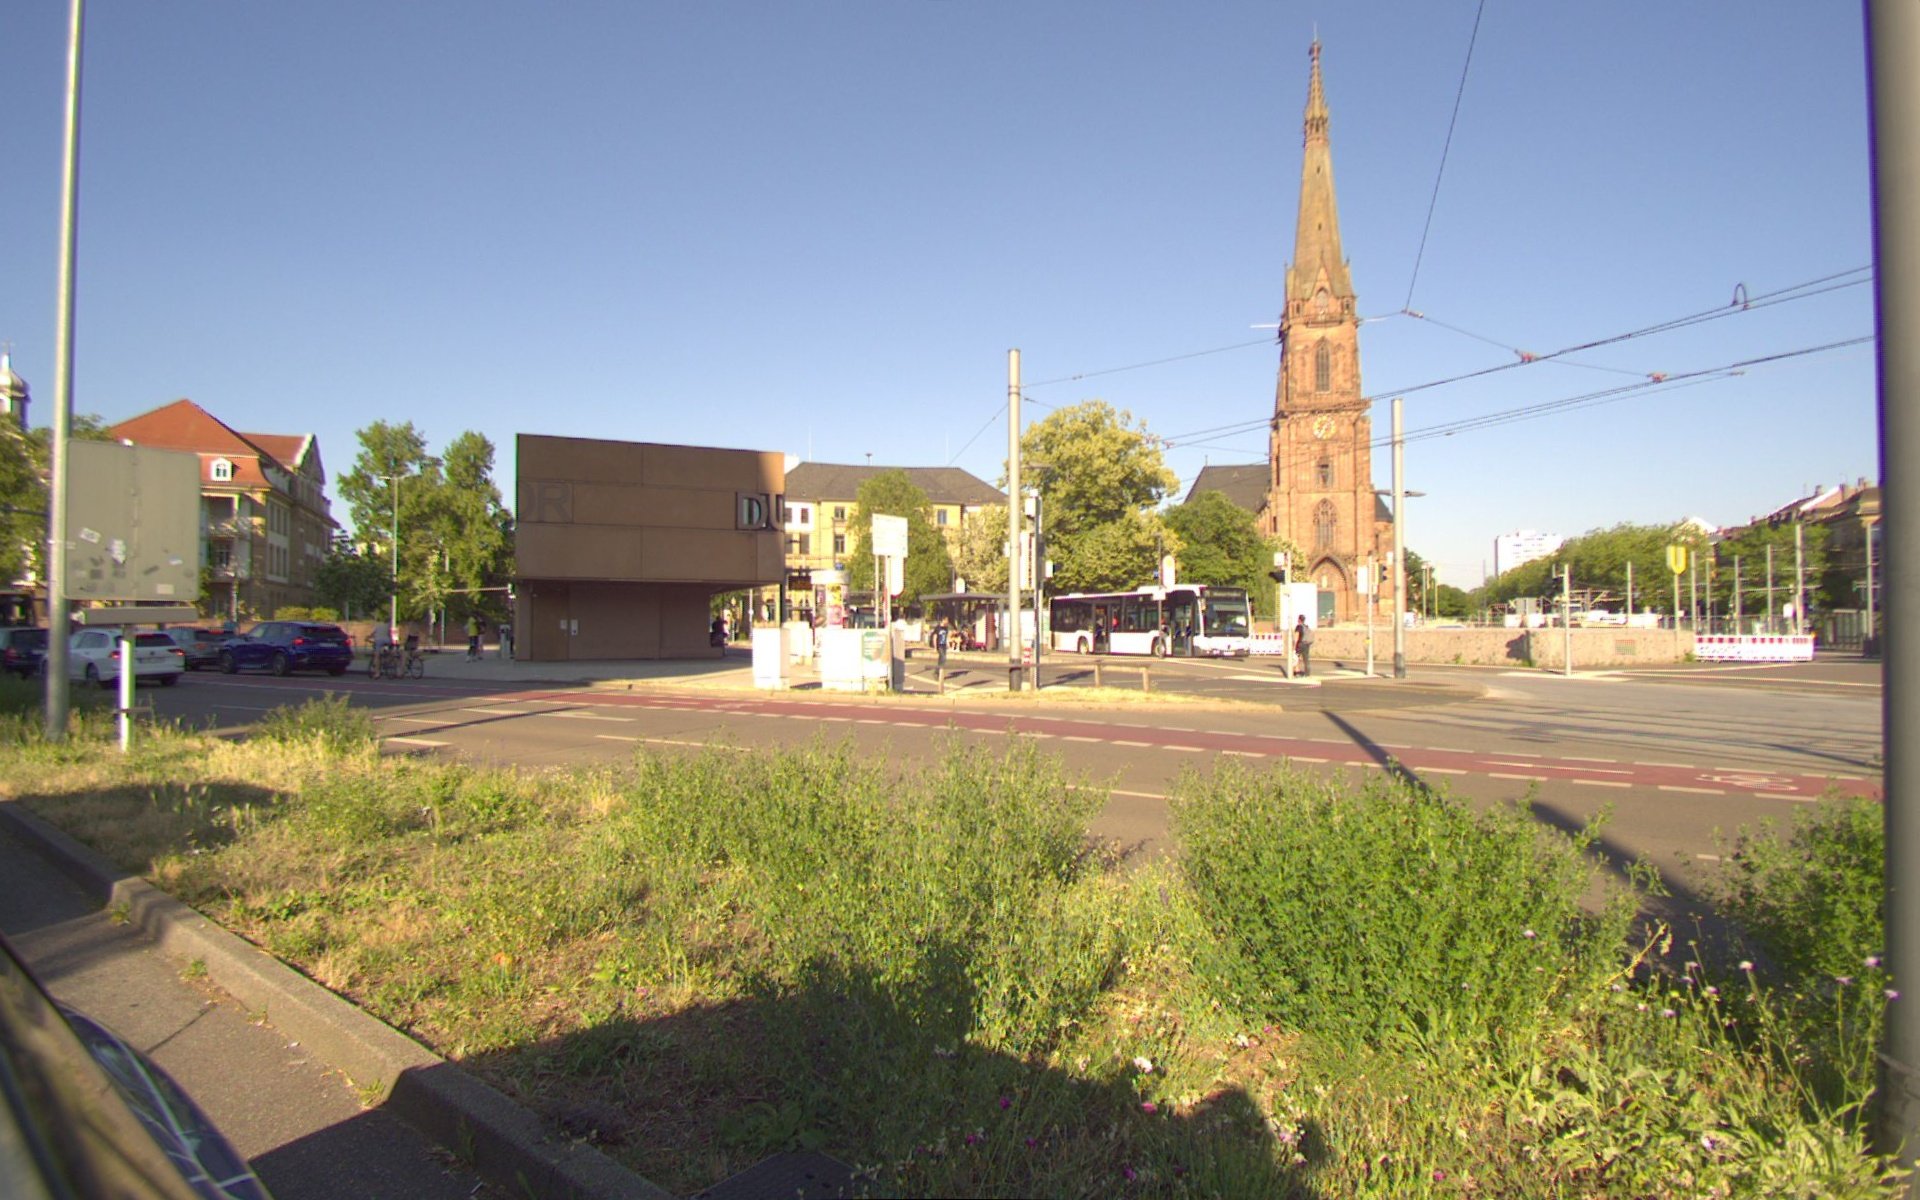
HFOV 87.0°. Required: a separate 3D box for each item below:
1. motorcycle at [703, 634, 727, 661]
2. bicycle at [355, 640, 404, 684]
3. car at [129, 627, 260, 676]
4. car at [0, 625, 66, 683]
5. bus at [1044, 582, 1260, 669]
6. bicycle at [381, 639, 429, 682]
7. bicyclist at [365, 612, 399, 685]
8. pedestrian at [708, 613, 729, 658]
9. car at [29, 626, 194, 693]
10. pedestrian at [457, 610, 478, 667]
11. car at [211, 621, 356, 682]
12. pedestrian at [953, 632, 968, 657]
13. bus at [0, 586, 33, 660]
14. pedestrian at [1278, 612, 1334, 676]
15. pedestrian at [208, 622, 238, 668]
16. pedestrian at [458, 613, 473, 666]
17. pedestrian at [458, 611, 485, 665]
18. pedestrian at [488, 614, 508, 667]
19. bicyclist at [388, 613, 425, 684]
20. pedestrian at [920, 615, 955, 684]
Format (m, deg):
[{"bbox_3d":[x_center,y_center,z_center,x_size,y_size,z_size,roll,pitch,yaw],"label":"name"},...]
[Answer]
[{"bbox_3d":[-10.194,1.961,42.080,0.935,1.075,0.331,-1,0,-11],"label":"motorcycle"},{"bbox_3d":[-16.400,1.746,28.568,1.388,1.201,0.461,-1,0,24],"label":"bicycle"},{"bbox_3d":[-25.050,1.656,33.097,4.375,1.503,1.831,-1,-4,30],"label":"car"},{"bbox_3d":[-26.897,1.488,28.538,4.182,1.471,1.735,-1,0,37],"label":"car"},{"bbox_3d":[7.673,0.973,43.308,2.655,3.174,12.216,-1,0,-23],"label":"bus"},{"bbox_3d":[-16.037,1.742,29.224,1.388,1.201,0.461,-1,0,24],"label":"bicycle"},{"bbox_3d":[-16.283,1.363,28.535,0.562,2.029,0.605,-1,-2,25],"label":"bicyclist"},{"bbox_3d":[-11.063,1.638,46.390,0.762,2.029,0.778,-1,0,-2],"label":"pedestrian"},{"bbox_3d":[-21.403,1.429,25.501,4.375,1.503,1.831,-1,0,30],"label":"car"},{"bbox_3d":[-17.641,1.374,36.253,0.645,2.029,0.470,-1,0,-29],"label":"pedestrian"},{"bbox_3d":[-20.148,1.477,30.113,4.166,1.703,1.741,-1,-1,26],"label":"car"},{"bbox_3d":[0.022,2.198,49.963,0.531,1.196,0.660,-1,0,-21],"label":"pedestrian"},{"bbox_3d":[-46.388,1.068,41.451,12.358,3.236,3.089,-1,0,-44],"label":"bus"},{"bbox_3d":[9.527,1.191,27.879,1.025,1.696,1.007,-1,0,-25],"label":"pedestrian"},{"bbox_3d":[-31.068,1.885,42.670,0.787,1.911,0.612,0,-2,-9],"label":"pedestrian"},{"bbox_3d":[-19.330,1.521,39.562,0.460,2.029,0.658,-1,0,-32],"label":"pedestrian"},{"bbox_3d":[-18.565,1.436,38.451,0.765,2.029,0.775,-1,0,-37],"label":"pedestrian"},{"bbox_3d":[-18.075,1.583,39.599,0.645,2.029,0.470,-1,0,-29],"label":"pedestrian"},{"bbox_3d":[-15.959,1.397,29.181,0.705,2.029,0.605,-1,-2,25],"label":"bicyclist"},{"bbox_3d":[-0.591,1.290,26.671,0.702,1.771,0.584,-1,0,-30],"label":"pedestrian"}]
